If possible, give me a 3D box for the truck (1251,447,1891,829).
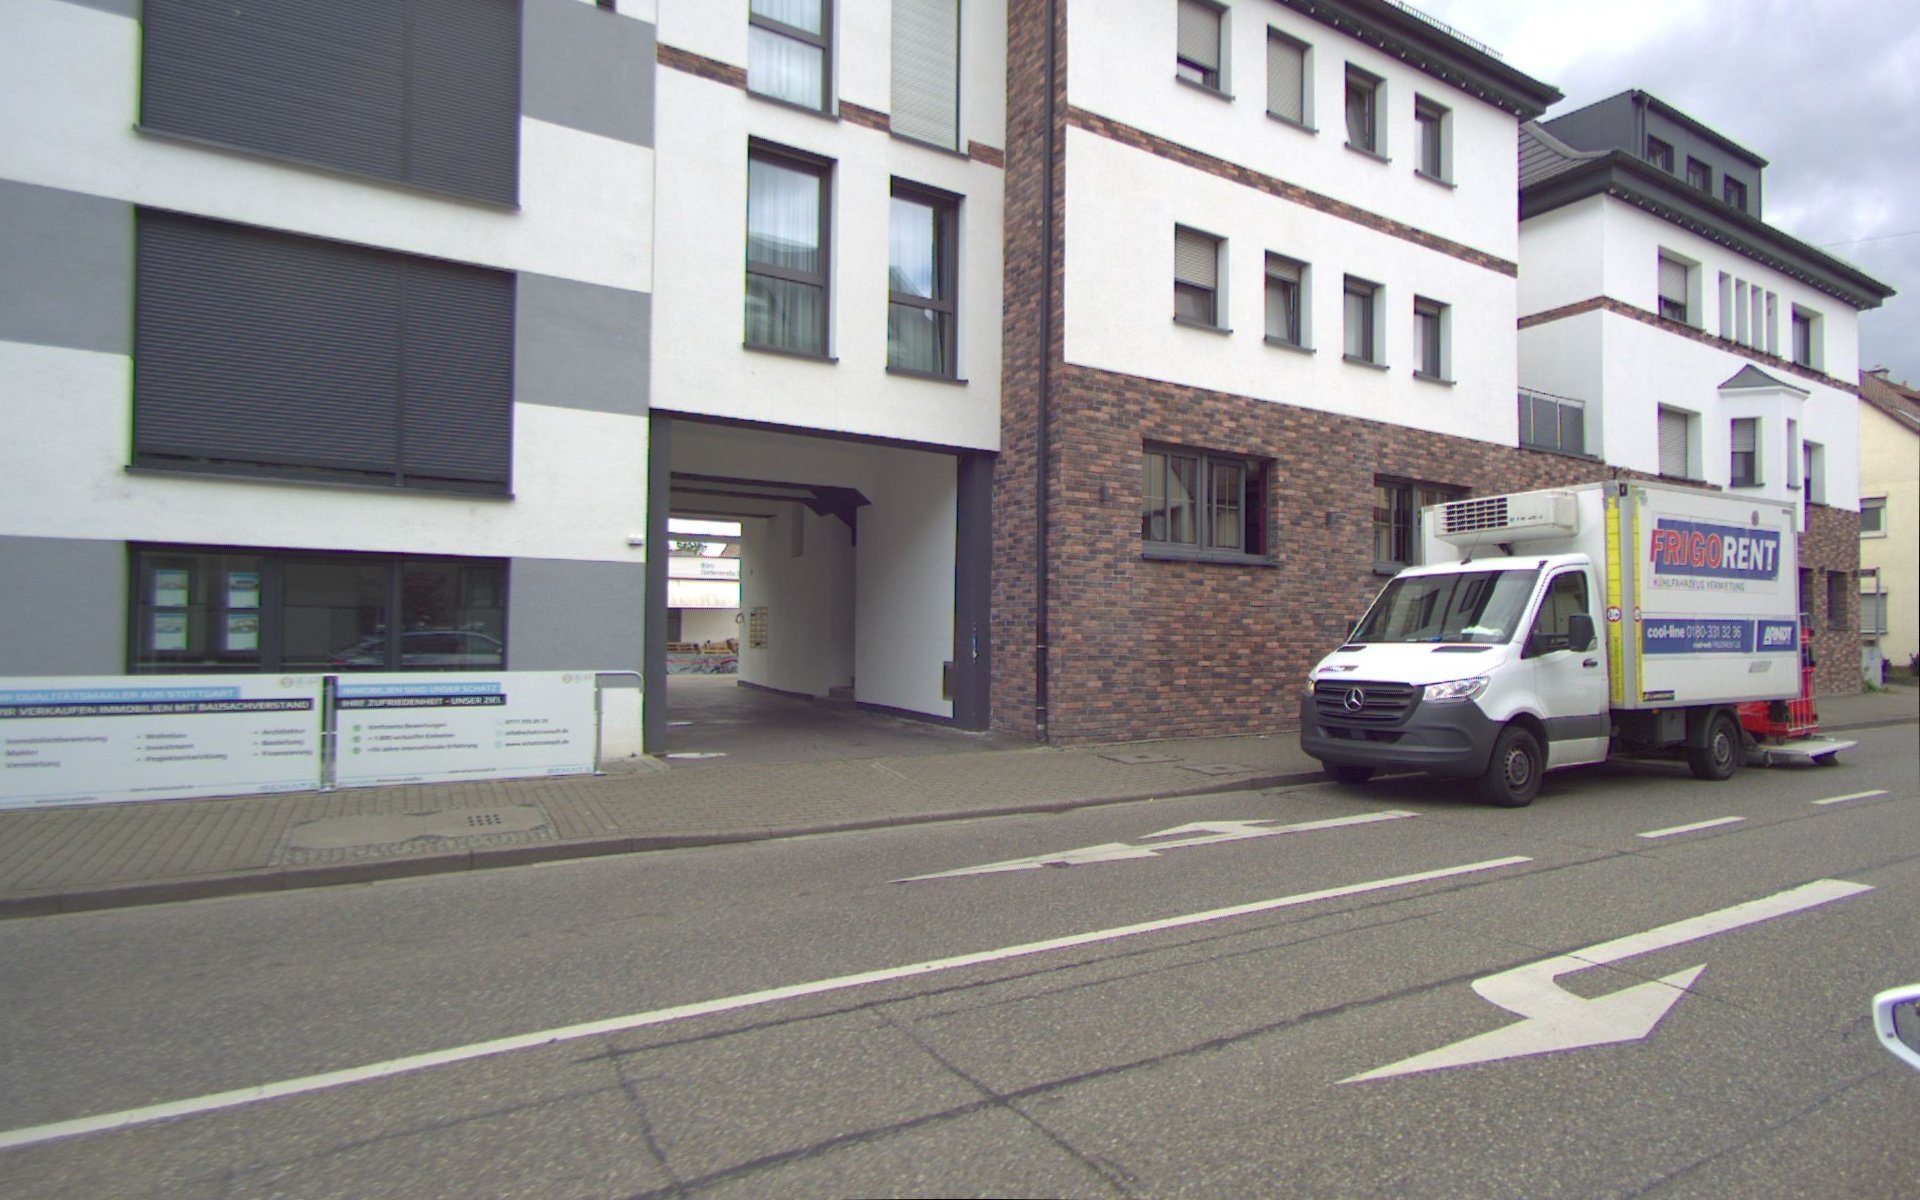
[{"bbox_3d":[7.067,0.445,11.076,8.269,2.992,2.423,1,-4,-31],"label":"truck"}]
